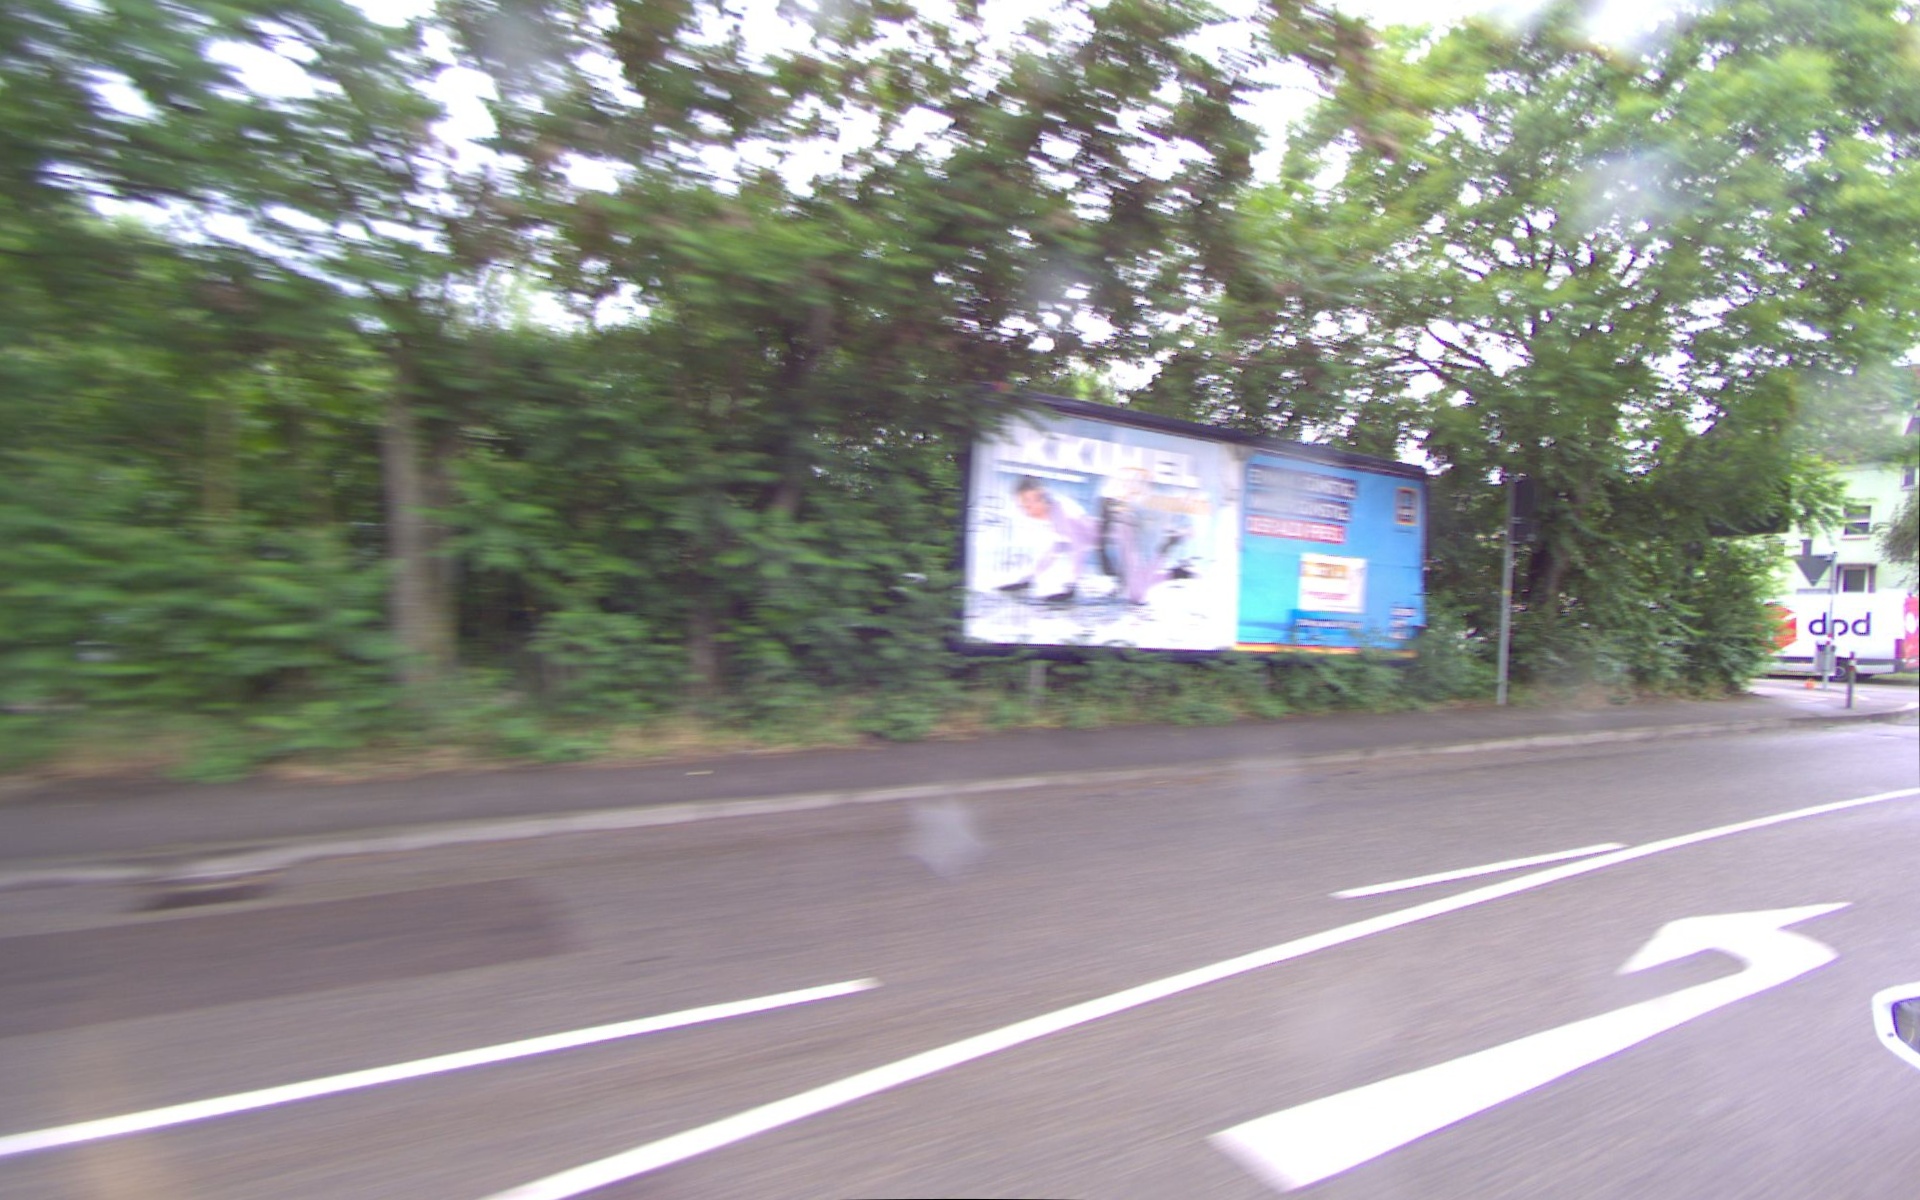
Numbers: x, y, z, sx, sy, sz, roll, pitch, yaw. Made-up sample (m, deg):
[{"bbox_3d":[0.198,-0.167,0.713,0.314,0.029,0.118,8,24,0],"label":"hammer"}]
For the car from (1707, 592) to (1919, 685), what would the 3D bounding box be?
[{"bbox_3d":[26.957,1.167,31.703,2.128,2.663,5.022,1,-1,-30],"label":"car"}]
